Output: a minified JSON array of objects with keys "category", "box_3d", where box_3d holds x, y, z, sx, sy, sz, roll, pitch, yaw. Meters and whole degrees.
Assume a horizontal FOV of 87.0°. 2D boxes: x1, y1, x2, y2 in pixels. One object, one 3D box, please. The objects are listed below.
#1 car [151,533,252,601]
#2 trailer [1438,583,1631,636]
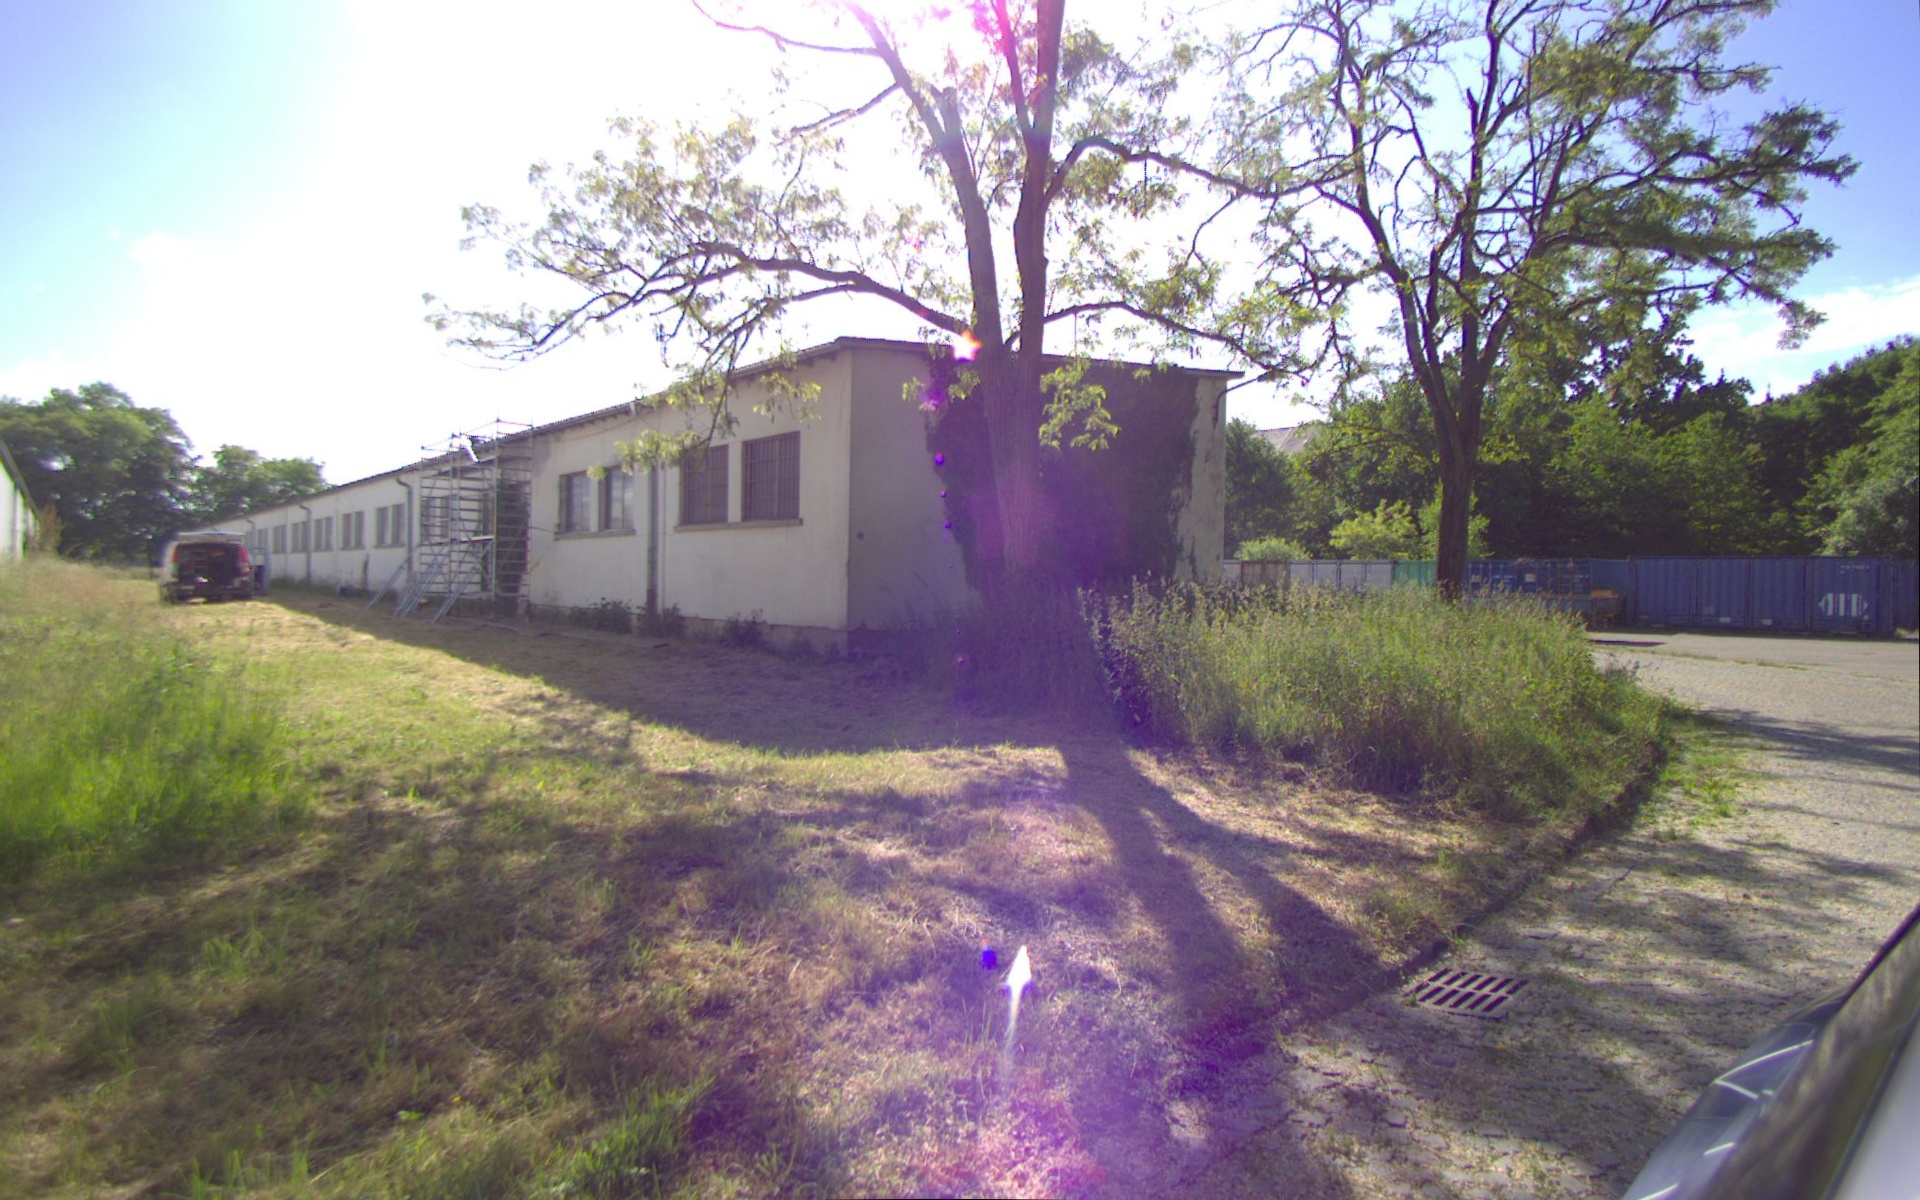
[{"category":"car","box_3d":[-22.460,-1.013,29.911,2.043,1.852,4.267,-3,4,-41]},{"category":"trailer","box_3d":[18.520,0.241,32.774,2.604,1.432,4.854,-1,3,-42]}]
